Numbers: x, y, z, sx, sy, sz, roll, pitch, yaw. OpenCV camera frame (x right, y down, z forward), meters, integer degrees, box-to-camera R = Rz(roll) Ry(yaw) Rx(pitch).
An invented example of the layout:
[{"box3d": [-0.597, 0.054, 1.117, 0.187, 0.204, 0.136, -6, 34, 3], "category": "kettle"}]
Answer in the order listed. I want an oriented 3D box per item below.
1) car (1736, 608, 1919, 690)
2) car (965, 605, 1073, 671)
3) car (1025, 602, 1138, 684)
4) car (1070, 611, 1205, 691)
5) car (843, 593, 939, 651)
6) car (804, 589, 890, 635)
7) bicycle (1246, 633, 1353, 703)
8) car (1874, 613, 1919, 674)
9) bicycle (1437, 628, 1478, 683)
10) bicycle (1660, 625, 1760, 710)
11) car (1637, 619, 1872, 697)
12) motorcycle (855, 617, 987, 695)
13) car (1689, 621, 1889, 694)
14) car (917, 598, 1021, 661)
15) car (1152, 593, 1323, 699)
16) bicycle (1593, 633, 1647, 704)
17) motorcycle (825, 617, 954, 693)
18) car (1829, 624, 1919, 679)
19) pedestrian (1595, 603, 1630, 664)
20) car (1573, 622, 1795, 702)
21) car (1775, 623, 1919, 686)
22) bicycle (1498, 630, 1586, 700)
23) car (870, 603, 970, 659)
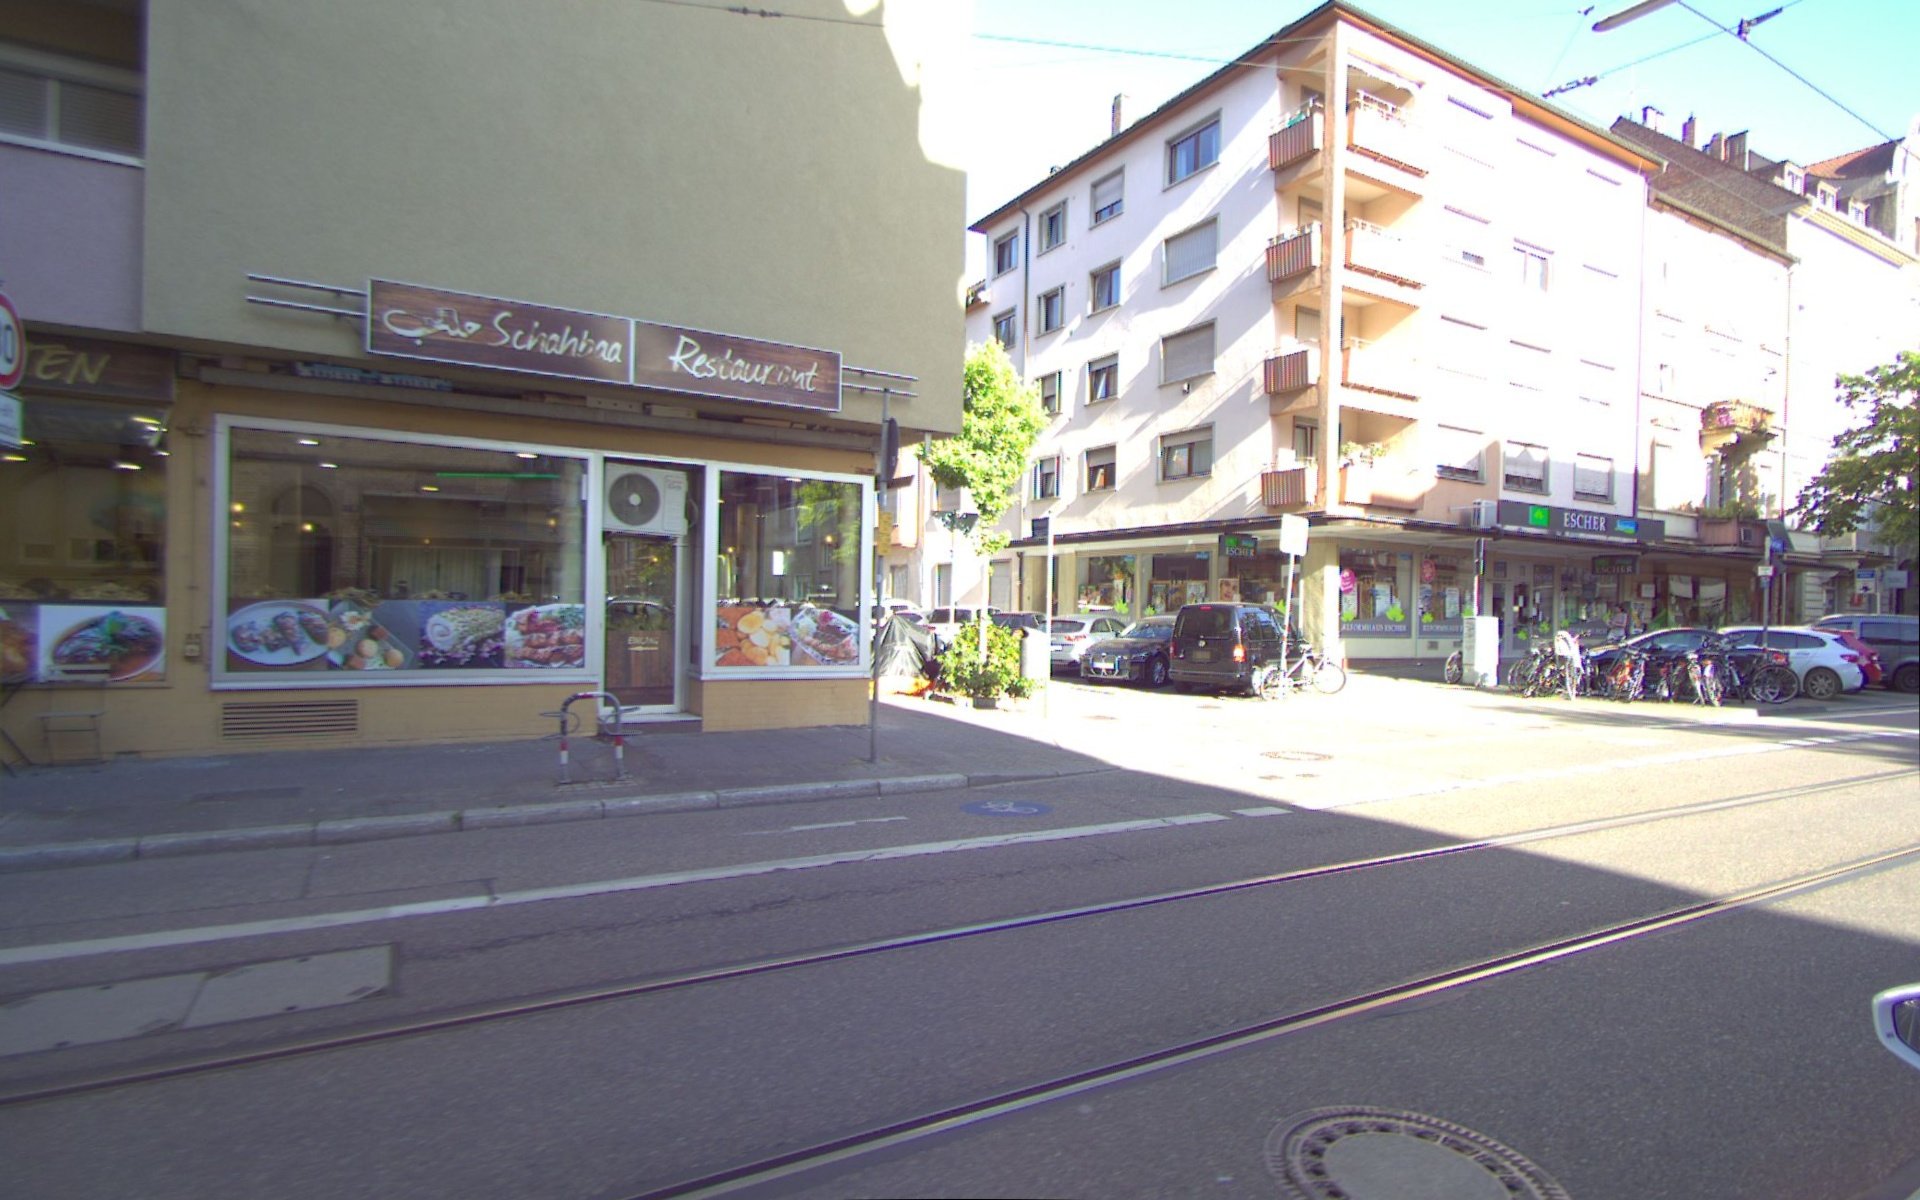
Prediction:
[{"box3d": [21.936, 1.186, 25.146, 3.757, 1.808, 1.793, 2, 0, 32], "category": "car"}, {"box3d": [1.726, 0.993, 28.161, 1.659, 1.477, 3.995, 1, 3, 25], "category": "car"}, {"box3d": [3.180, 1.010, 25.728, 1.422, 1.726, 3.991, 2, 3, 30], "category": "car"}, {"box3d": [4.147, 1.081, 22.984, 1.816, 1.411, 3.992, 2, 3, 29], "category": "car"}, {"box3d": [-2.378, 0.724, 35.620, 1.659, 1.737, 3.995, 1, 3, 25], "category": "car"}, {"box3d": [-4.172, 0.414, 37.557, 1.589, 1.477, 3.546, 1, 3, 25], "category": "car"}, {"box3d": [6.439, 1.249, 18.980, 2.412, 1.124, 0.676, -1, 2, -37], "category": "bicycle"}, {"box3d": [30.918, 1.398, 30.452, 4.287, 1.806, 1.993, 2, 0, 28], "category": "car"}, {"box3d": [10.656, 1.162, 21.484, 0.398, 1.124, 1.829, 1, -1, 38], "category": "bicycle"}, {"box3d": [13.353, 1.152, 17.853, 2.410, 1.337, 0.677, -1, 2, -35], "category": "bicycle"}, {"box3d": [17.221, 1.218, 22.016, 3.722, 1.419, 1.752, 2, 0, 28], "category": "car"}, {"box3d": [-0.638, 0.932, 16.862, 2.151, 1.225, 0.616, 2, 0, -30], "category": "motorcycle"}, {"box3d": [19.383, 1.298, 23.682, 3.410, 1.493, 1.645, 1, 0, 32], "category": "car"}, {"box3d": [0.340, 0.826, 30.512, 1.659, 1.577, 3.995, 1, 3, 25], "category": "car"}, {"box3d": [5.866, 0.869, 20.878, 1.821, 1.842, 4.337, -2, 1, 39], "category": "car"}, {"box3d": [12.305, 1.246, 18.761, 0.671, 1.139, 1.884, 1, 2, 29], "category": "bicycle"}, {"box3d": [-1.209, 0.948, 17.442, 2.151, 1.225, 0.616, 2, 0, -30], "category": "motorcycle"}, {"box3d": [27.177, 1.490, 28.353, 3.780, 1.449, 1.760, 2, 0, 35], "category": "car"}, {"box3d": [18.418, 0.937, 28.354, 0.634, 1.674, 0.566, 2, 1, -30], "category": "pedestrian"}, {"box3d": [14.684, 1.219, 20.600, 3.406, 1.355, 1.623, 2, 0, 26], "category": "car"}, {"box3d": [24.315, 1.449, 26.598, 3.945, 1.469, 1.697, 2, 0, 28], "category": "car"}, {"box3d": [11.174, 1.206, 19.371, 0.670, 1.124, 2.436, 0, 1, 10], "category": "bicycle"}, {"box3d": [-1.241, 0.959, 32.990, 1.659, 1.477, 3.995, 1, 3, 25], "category": "car"}]
